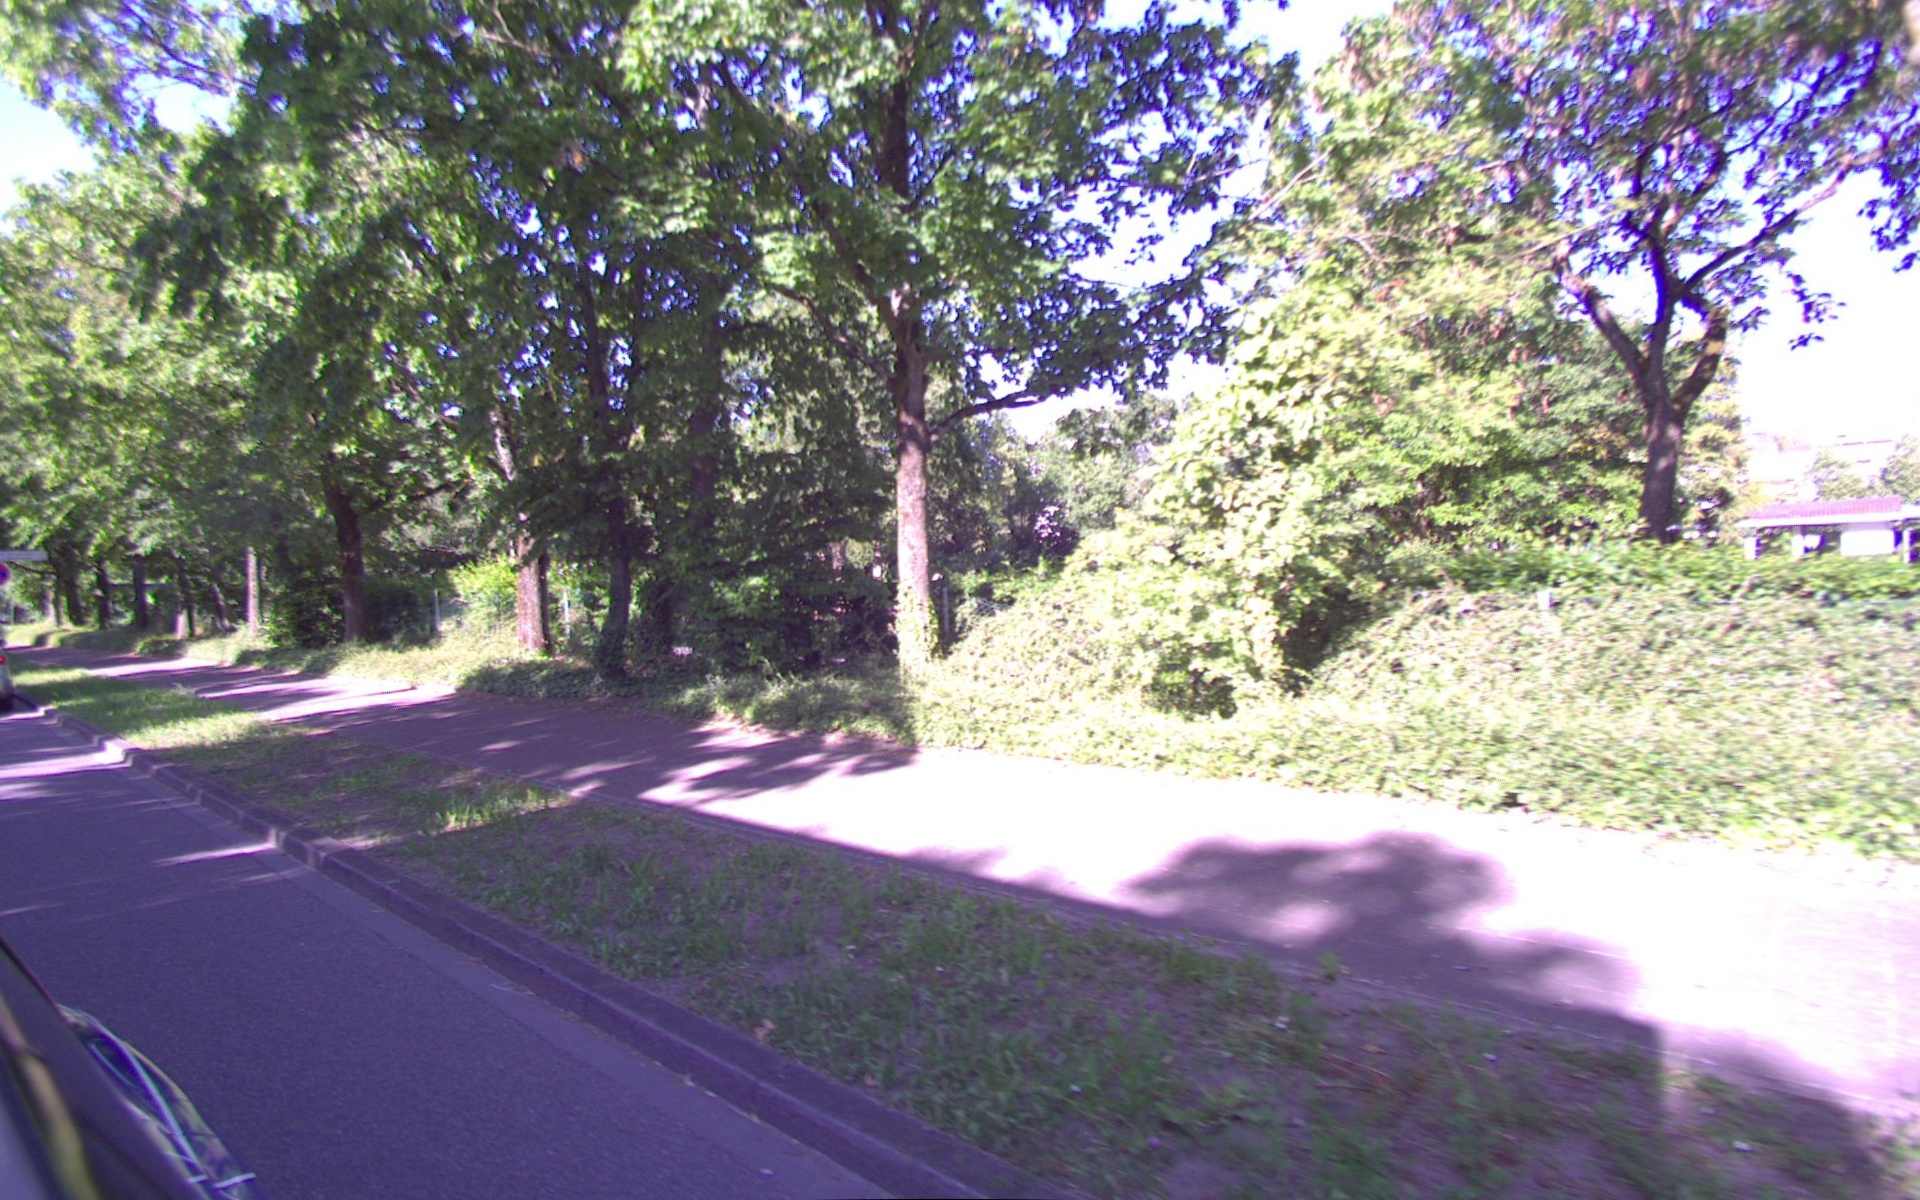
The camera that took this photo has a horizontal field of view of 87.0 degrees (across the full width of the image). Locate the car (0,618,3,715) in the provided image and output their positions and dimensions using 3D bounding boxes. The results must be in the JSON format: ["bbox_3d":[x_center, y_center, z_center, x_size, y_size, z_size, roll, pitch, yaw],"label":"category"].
[{"bbox_3d":[-16.076,1.035,15.579,4.105,1.427,1.767,-2,0,44],"label":"car"}]

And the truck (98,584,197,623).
[{"bbox_3d":[-45.629,0.177,56.886,2.202,2.029,3.947,-2,0,40],"label":"truck"}]
